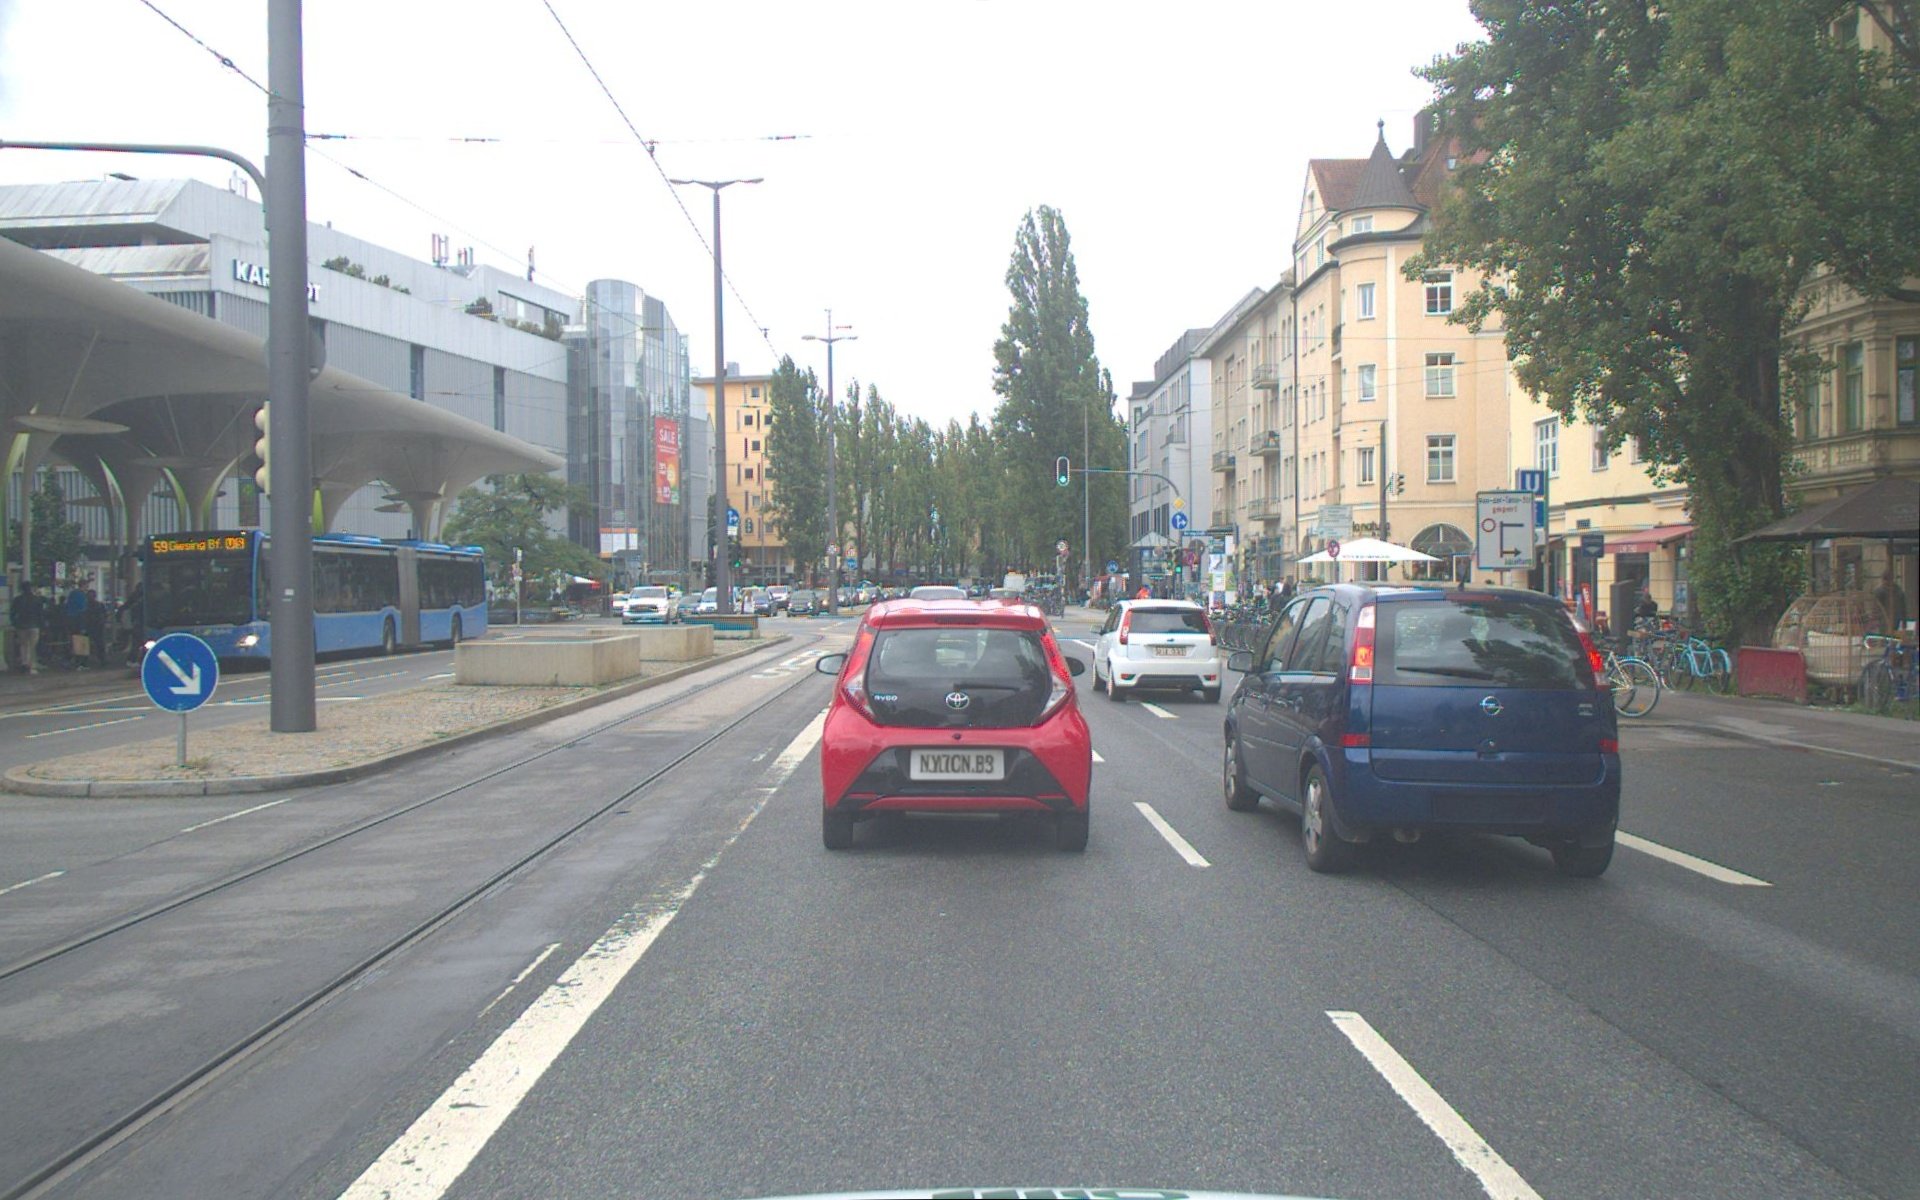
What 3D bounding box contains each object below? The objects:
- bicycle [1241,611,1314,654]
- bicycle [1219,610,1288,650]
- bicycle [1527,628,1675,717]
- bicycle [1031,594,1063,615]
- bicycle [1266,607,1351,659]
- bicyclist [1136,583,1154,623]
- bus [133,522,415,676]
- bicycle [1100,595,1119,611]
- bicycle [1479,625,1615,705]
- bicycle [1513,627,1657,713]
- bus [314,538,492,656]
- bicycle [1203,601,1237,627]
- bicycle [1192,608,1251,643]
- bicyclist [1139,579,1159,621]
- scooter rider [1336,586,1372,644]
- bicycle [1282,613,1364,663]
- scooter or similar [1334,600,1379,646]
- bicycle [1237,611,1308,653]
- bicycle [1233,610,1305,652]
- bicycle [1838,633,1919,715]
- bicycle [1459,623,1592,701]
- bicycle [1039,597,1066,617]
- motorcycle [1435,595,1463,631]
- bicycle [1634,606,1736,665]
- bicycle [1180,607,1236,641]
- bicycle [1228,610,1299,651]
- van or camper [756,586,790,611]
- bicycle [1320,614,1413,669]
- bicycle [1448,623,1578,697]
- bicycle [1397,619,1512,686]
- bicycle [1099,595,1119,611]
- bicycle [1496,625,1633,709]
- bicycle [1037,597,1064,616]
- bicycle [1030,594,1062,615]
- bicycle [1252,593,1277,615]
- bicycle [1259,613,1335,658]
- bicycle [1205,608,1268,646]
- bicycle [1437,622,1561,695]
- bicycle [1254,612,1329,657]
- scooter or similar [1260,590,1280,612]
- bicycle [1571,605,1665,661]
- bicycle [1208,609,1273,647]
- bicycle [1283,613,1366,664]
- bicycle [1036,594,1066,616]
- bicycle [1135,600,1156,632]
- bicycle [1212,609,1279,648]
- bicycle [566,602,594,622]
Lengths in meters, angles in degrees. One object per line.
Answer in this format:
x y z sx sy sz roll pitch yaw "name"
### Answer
7.661 0.792 39.958 1.810 1.013 0.346 -1 0 44 "bicycle"
7.591 0.771 42.784 1.807 1.013 0.346 -1 0 39 "bicycle"
8.125 0.898 21.032 0.372 1.013 1.816 -1 2 -39 "bicycle"
4.992 0.247 94.993 1.763 1.178 0.486 0 0 26 "bicycle"
7.822 0.745 37.130 1.803 1.132 0.466 -1 1 32 "bicycle"
7.878 0.126 70.504 0.601 1.686 1.251 -1 0 0 "bicyclist"
-15.874 -0.053 39.355 2.607 3.060 10.511 -2 0 -2 "bus"
9.368 0.208 103.410 1.156 0.980 0.369 -1 0 3 "bicycle"
8.192 0.886 23.133 1.811 1.013 0.373 2 2 45 "bicycle"
8.164 0.895 21.674 0.372 1.013 1.816 -1 2 -39 "bicycle"
-16.093 -0.116 48.368 2.606 3.060 7.512 -2 0 -1 "bus"
12.195 0.652 77.613 1.536 1.180 0.525 -2 2 2 "bicycle"
7.645 0.755 48.406 1.811 1.013 0.345 -1 0 44 "bicycle"
8.594 -0.005 75.269 0.747 1.902 1.133 -1 0 0 "bicyclist"
9.708 0.374 40.770 0.686 1.413 0.643 -1 0 -3 "scooter rider"
7.974 0.825 36.379 1.808 1.013 0.323 2 2 40 "bicycle"
9.753 0.549 40.720 0.760 1.094 1.256 -1 0 -2 "scooter or similar"
7.679 0.788 40.677 1.810 1.013 0.346 -1 0 44 "bicycle"
7.706 0.784 41.323 1.807 1.013 0.346 -1 0 39 "bicycle"
11.431 0.882 20.110 0.447 0.907 1.893 -1 0 -2 "bicycle"
8.145 0.880 23.882 1.809 1.013 0.373 2 2 42 "bicycle"
5.072 0.377 90.592 0.495 1.046 1.576 -1 1 -42 "bicycle"
16.367 0.414 55.383 0.476 1.176 1.571 -1 0 0 "motorcycle"
13.585 0.664 31.020 1.685 1.064 0.388 0 1 10 "bicycle"
7.578 0.738 50.561 1.811 1.013 0.345 -1 0 44 "bicycle"
7.696 0.780 41.978 1.807 1.013 0.346 -1 0 39 "bicycle"
-14.209 -0.112 125.724 1.888 1.857 5.441 -1 0 1 "van or camper"
8.061 0.816 32.856 1.805 1.013 0.324 1 2 36 "bicycle"
8.196 0.876 24.564 1.806 1.013 0.373 1 2 38 "bicycle"
8.155 0.857 27.308 1.806 1.013 0.374 1 2 37 "bicycle"
9.358 0.185 103.953 1.157 0.980 0.369 -1 0 -2 "bicycle"
8.177 0.890 22.438 0.372 1.013 1.816 -1 2 -39 "bicycle"
4.989 0.367 91.447 0.495 1.046 1.576 -1 1 -42 "bicycle"
4.897 0.249 94.182 1.770 1.178 0.546 0 0 38 "bicycle"
15.190 0.179 82.495 0.486 1.077 1.858 -1 0 -15 "bicycle"
7.689 0.807 37.830 1.811 1.013 0.323 -1 0 44 "bicycle"
7.586 0.753 45.475 1.810 1.013 0.346 -1 0 43 "bicycle"
8.193 0.872 25.187 1.811 1.013 0.373 2 2 44 "bicycle"
7.722 0.803 38.605 1.810 1.013 0.345 -1 0 44 "bicycle"
14.834 0.037 79.103 0.803 1.011 0.593 -1 3 -2 "scooter or similar"
12.676 0.634 31.862 1.690 1.064 0.387 0 1 -7 "bicycle"
7.594 0.758 44.809 1.810 1.013 0.346 -1 0 43 "bicycle"
7.870 0.826 35.802 1.808 1.013 0.323 2 2 40 "bicycle"
5.061 0.273 92.108 1.773 1.219 0.555 0 1 43 "bicycle"
7.890 0.684 70.424 0.601 1.287 2.520 -1 1 0 "bicycle"
7.607 0.763 44.122 1.807 1.013 0.346 -1 0 39 "bicycle"
-21.654 0.669 94.216 1.541 1.131 0.373 0 0 3 "bicycle"
